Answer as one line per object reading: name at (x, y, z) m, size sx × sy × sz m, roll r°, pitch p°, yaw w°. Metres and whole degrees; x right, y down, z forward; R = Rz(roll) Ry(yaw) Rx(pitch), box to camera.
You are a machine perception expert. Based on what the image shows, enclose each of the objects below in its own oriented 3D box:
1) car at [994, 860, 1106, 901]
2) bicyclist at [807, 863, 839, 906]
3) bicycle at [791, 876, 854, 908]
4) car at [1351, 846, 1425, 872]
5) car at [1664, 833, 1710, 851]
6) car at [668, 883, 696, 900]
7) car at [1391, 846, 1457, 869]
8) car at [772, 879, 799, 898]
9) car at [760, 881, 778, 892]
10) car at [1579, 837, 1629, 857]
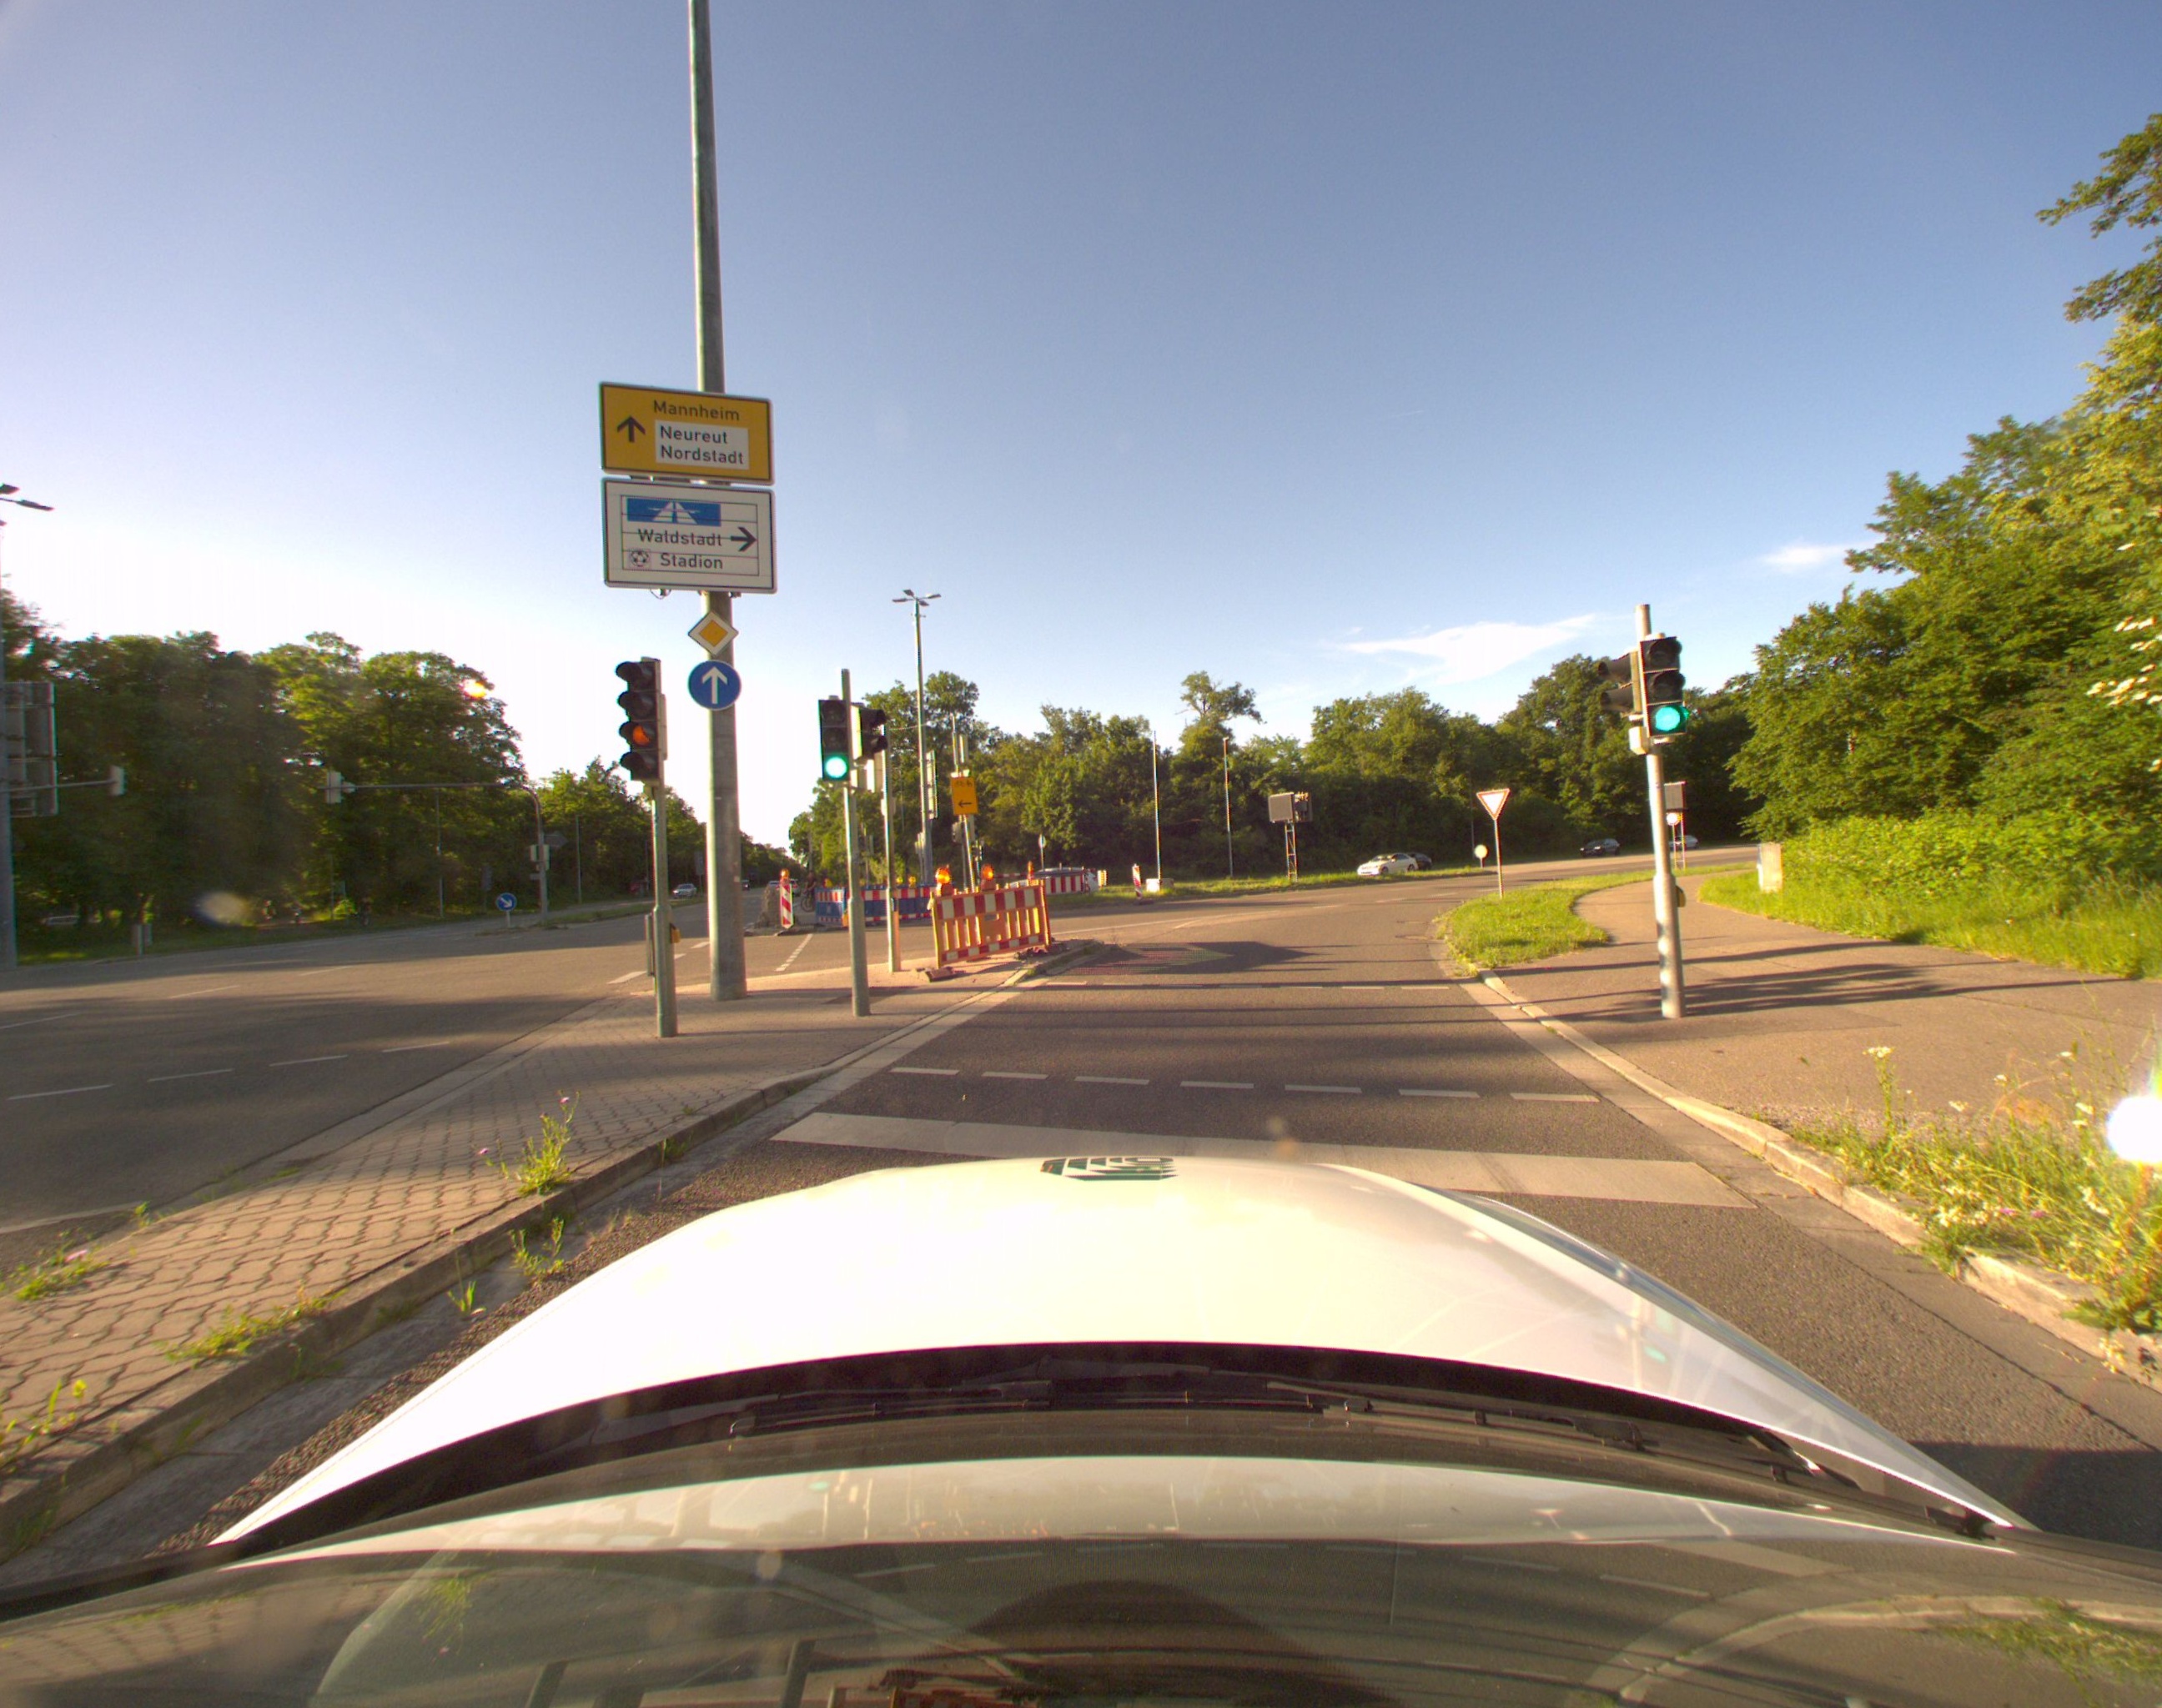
car at (-1.372, 1.201, 37.438) m, size 4.856 × 1.580 × 1.977 m, roll -2°, pitch -1°, yaw -37°
bicyclist at (-12.020, 1.426, 37.926) m, size 0.956 × 1.930 × 1.022 m, roll -3°, pitch -2°, yaw 43°
bicycle at (-11.997, 1.742, 37.924) m, size 0.956 × 1.383 × 2.656 m, roll -3°, pitch -1°, yaw 43°
car at (19.764, 0.309, 52.324) m, size 4.827 × 1.436 × 1.979 m, roll -2°, pitch -1°, yaw -34°
car at (60.475, -1.222, 81.224) m, size 4.666 × 1.529 × 1.980 m, roll -2°, pitch -1°, yaw -30°
car at (-44.198, 4.125, 90.266) m, size 1.998 × 1.789 × 4.224 m, roll -3°, pitch -1°, yaw -17°
car at (24.577, 0.254, 58.321) m, size 4.827 × 1.436 × 1.979 m, roll -2°, pitch -1°, yaw -34°
car at (-24.779, 2.847, 68.383) m, size 1.946 × 1.414 × 3.973 m, roll -3°, pitch -1°, yaw -19°
car at (-43.757, 4.519, 114.292) m, size 1.867 × 1.444 × 3.979 m, roll -2°, pitch -1°, yaw -15°
car at (47.307, -0.634, 73.613) m, size 4.668 × 1.529 × 1.979 m, roll -2°, pitch -1°, yaw -32°
